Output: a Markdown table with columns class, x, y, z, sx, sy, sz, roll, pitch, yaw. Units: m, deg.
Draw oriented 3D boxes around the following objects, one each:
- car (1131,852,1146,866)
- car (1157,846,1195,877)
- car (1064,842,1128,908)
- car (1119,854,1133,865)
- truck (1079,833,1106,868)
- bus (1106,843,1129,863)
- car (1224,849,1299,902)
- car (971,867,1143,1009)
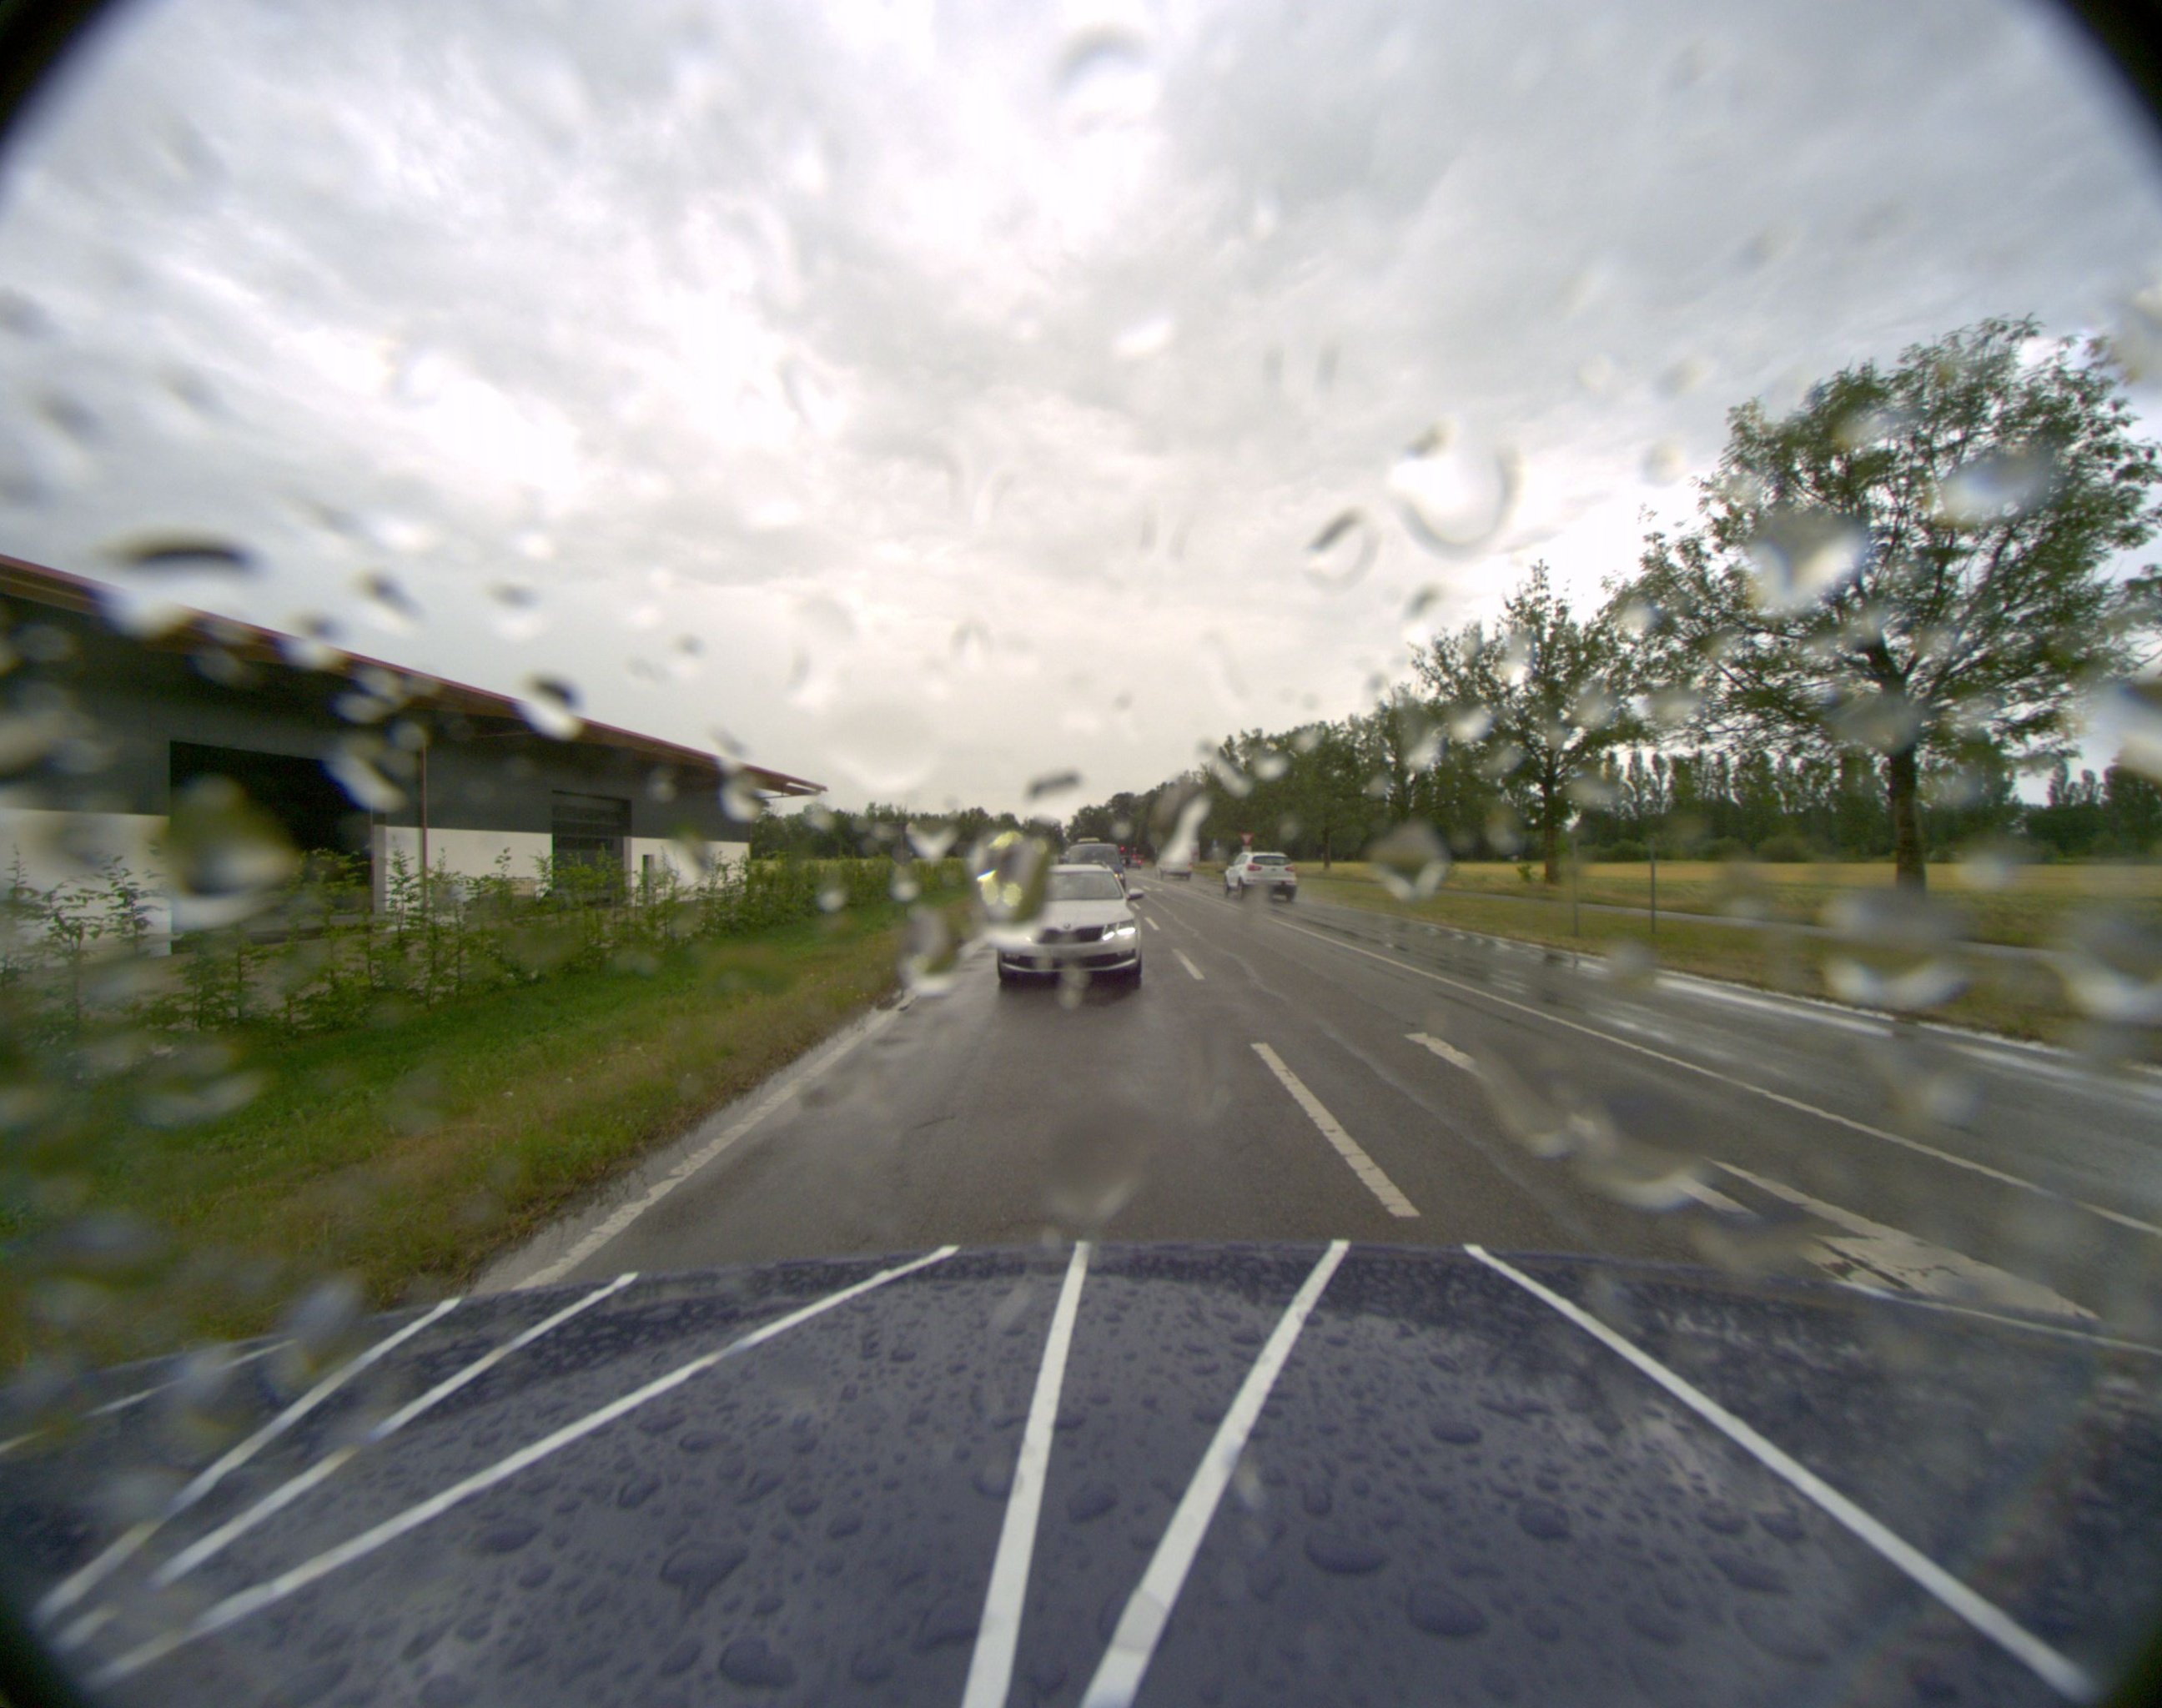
| class | x | y | z | sx | sy | sz | roll | pitch | yaw |
| --- | --- | --- | --- | --- | --- | --- | --- | --- | --- |
| car | 6.572 | 0.607 | 86.666 | 1.504 | 1.521 | 3.301 | 2 | 0 | 2 |
| car | 6.081 | 0.422 | 49.106 | 1.921 | 1.851 | 4.684 | 1 | 1 | 0 |
| car | 0.470 | 0.609 | 24.517 | 1.892 | 1.939 | 4.000 | 0 | 0 | 1 |
| car | 6.012 | 0.766 | 101.848 | 1.672 | 1.442 | 3.461 | 1 | 0 | 1 |
| truck | 1.379 | -0.406 | 91.135 | 2.931 | 3.828 | 14.120 | 0 | 0 | 1 |
| bus | 5.676 | -0.219 | 119.021 | 2.958 | 2.895 | 12.473 | 0 | 1 | 0 |
| car | 6.224 | 0.696 | 26.588 | 1.708 | 1.661 | 4.156 | 1 | 0 | 2 |
| car | -0.236 | 0.968 | 10.651 | 1.843 | 1.379 | 4.569 | -2 | 1 | 1 |
